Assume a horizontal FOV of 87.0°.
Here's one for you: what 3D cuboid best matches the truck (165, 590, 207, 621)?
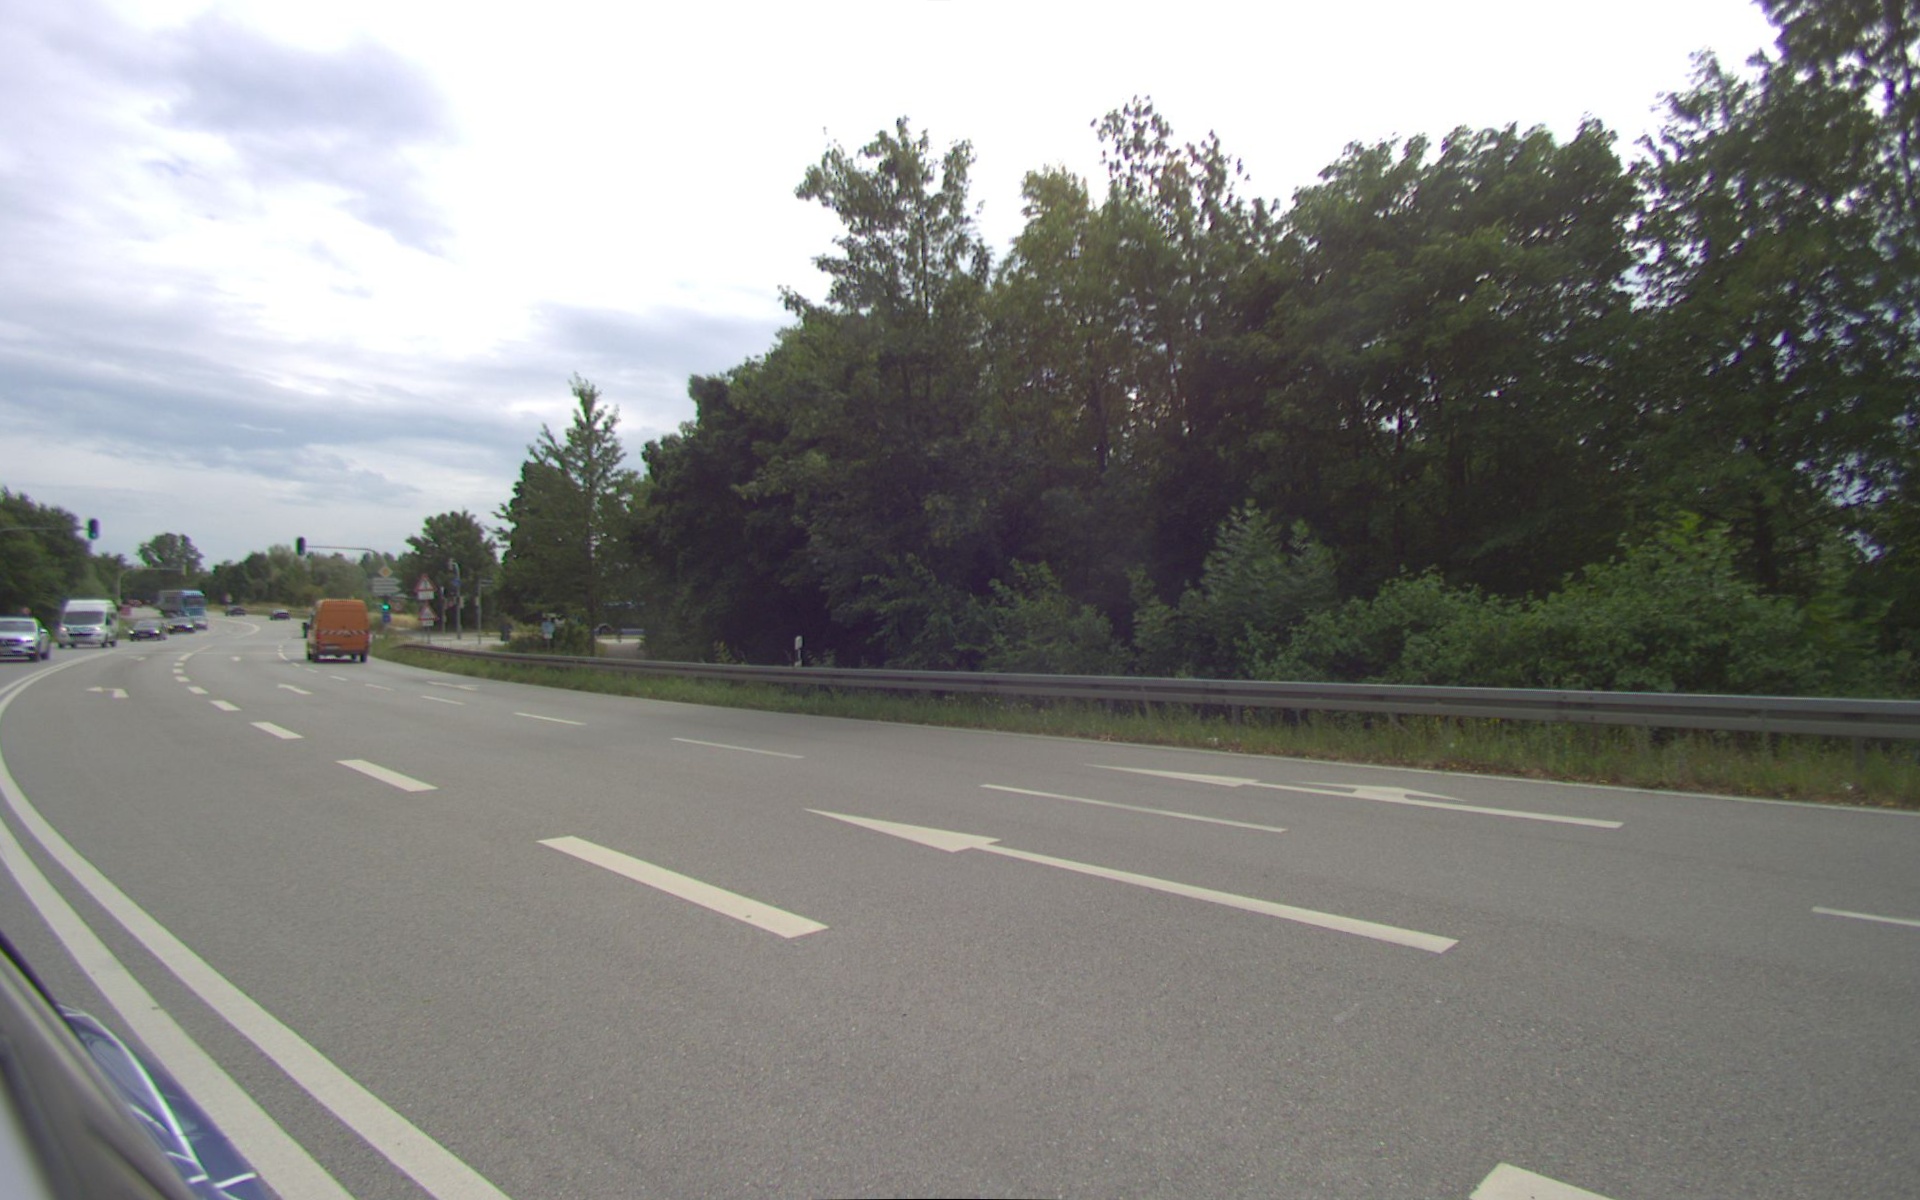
[{"bbox_3d":[-113.737,0.814,148.711,9.566,4.383,2.988,-1,-2,41],"label":"truck"}]

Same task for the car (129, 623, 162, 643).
[{"bbox_3d":[-59.307,2.410,73.684,1.718,1.335,4.007,4,-4,-39],"label":"car"}]

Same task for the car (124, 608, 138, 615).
[{"bbox_3d":[-165.354,2.288,201.890,4.001,1.396,1.720,0,1,44],"label":"car"}]

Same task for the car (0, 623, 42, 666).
[{"bbox_3d":[-35.867,1.641,38.044,1.799,1.509,4.230,3,-3,-41],"label":"car"}]

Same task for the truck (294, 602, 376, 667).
[{"bbox_3d":[-27.208,1.482,43.967,2.286,2.621,6.035,4,-3,-38],"label":"truck"}]

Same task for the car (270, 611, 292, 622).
[{"bbox_3d":[-92.831,2.270,138.349,1.720,1.497,4.203,1,-1,-44],"label":"car"}]

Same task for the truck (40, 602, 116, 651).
[{"bbox_3d":[-49.431,1.481,56.865,2.340,2.613,6.015,2,-2,-33],"label":"truck"}]

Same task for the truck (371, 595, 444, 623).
[{"bbox_3d":[-104.074,1.658,190.560,14.099,4.357,3.342,4,0,19],"label":"truck"}]

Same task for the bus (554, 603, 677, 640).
[{"bbox_3d":[-30.299,1.890,89.371,9.920,3.070,3.125,1,-2,-43],"label":"bus"}]

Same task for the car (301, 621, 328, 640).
[{"bbox_3d":[-61.324,2.904,96.178,1.832,1.656,4.751,2,-3,-29],"label":"car"}]

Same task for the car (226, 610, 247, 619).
[{"bbox_3d":[-112.356,2.221,157.192,3.997,1.396,1.722,0,0,40],"label":"car"}]

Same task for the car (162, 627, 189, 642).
[{"bbox_3d":[-72.289,3.185,93.255,1.716,1.335,4.010,4,-4,-35],"label":"car"}]

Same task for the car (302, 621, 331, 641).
[{"bbox_3d":[-49.211,2.389,77.463,1.693,1.509,4.561,2,-3,-30],"label":"car"}]

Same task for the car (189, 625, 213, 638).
[{"bbox_3d":[-78.690,3.250,104.923,1.718,1.335,4.007,4,-4,-39],"label":"car"}]
